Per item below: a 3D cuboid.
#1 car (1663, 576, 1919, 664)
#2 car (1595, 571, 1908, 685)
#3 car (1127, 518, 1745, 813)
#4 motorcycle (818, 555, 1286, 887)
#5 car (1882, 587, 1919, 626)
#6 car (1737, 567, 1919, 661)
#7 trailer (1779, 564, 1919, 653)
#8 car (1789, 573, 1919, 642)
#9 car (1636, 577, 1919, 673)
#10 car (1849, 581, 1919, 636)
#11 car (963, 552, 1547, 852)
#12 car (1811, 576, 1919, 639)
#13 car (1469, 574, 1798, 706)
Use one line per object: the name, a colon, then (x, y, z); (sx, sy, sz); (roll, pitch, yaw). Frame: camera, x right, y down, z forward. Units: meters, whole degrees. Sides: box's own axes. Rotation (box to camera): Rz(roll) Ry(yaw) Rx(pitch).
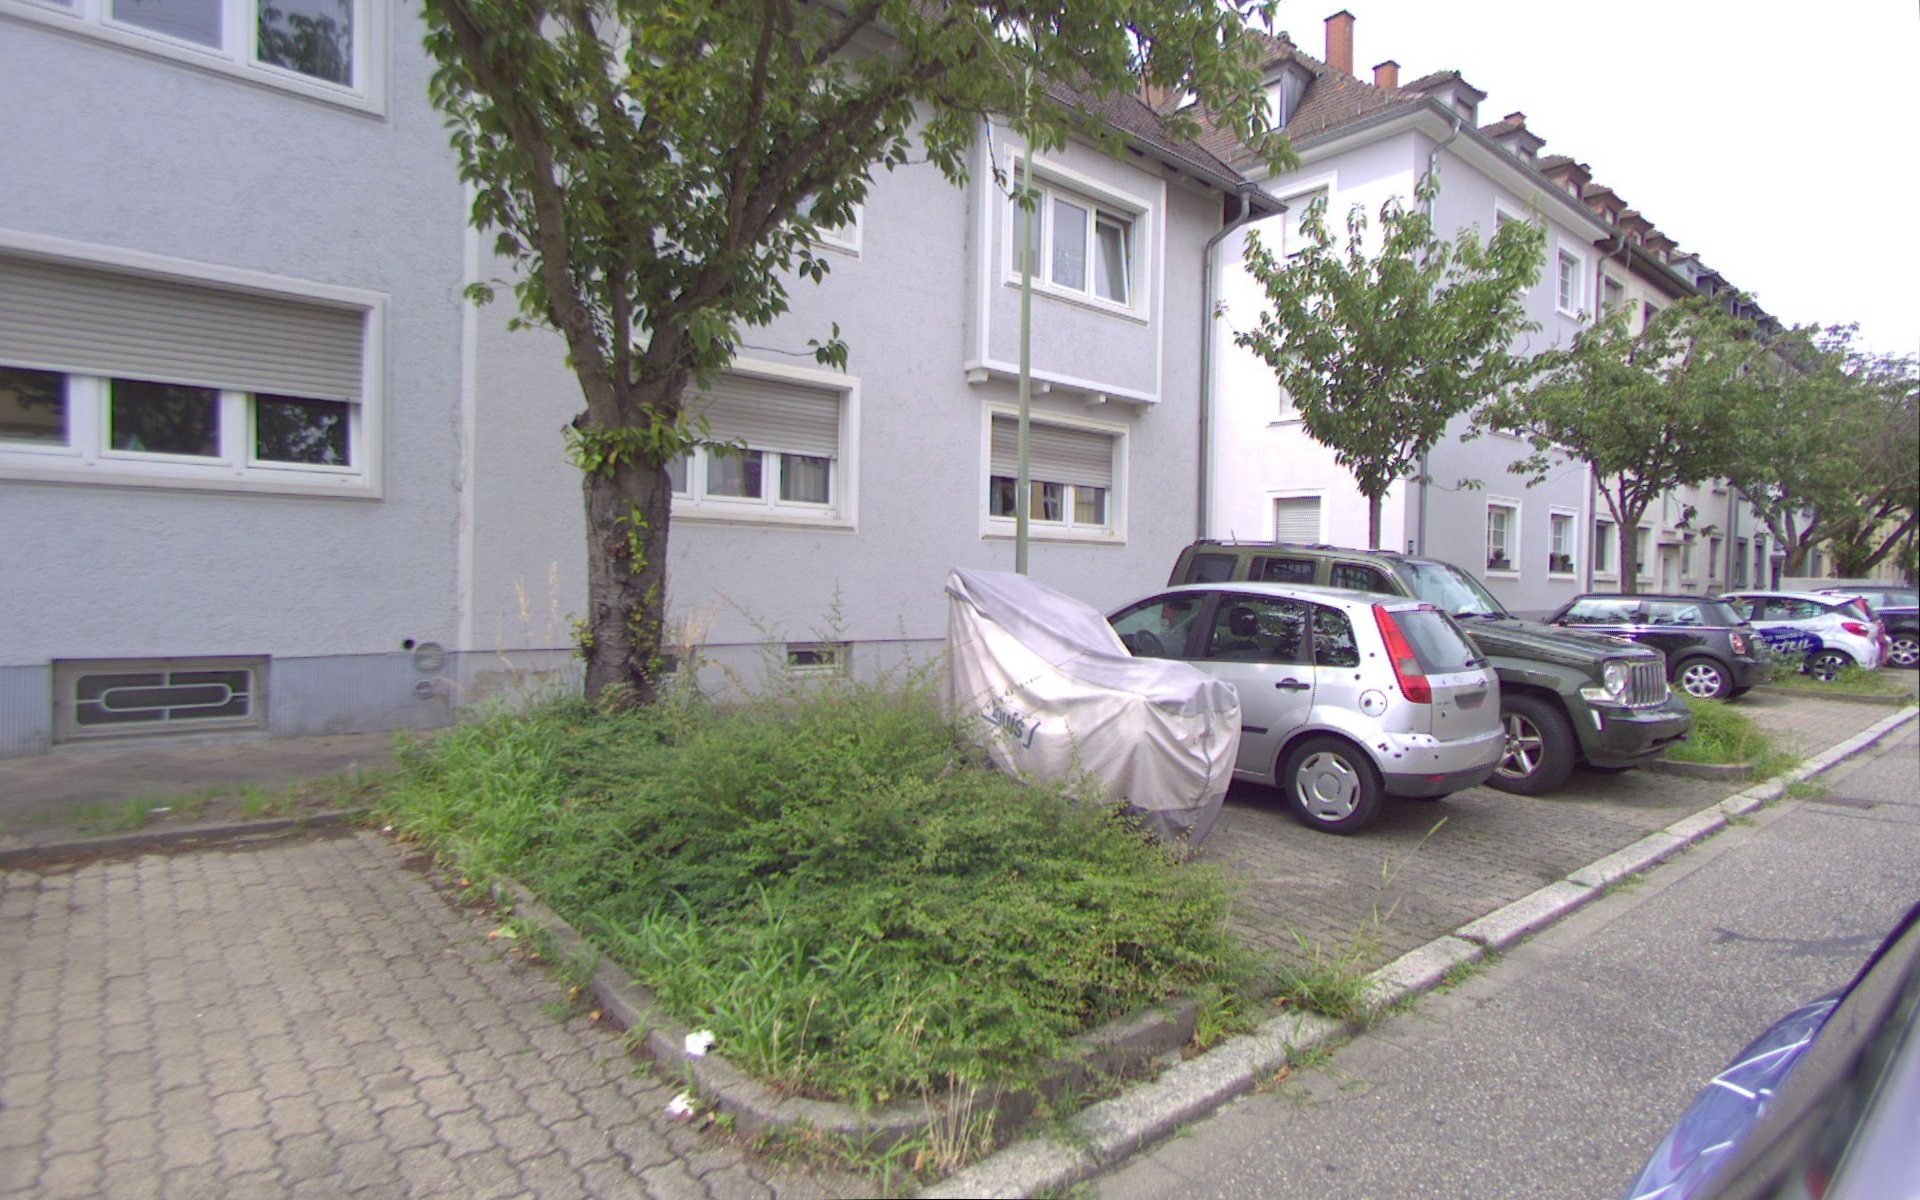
car: (17.118, 0.333, 20.979); (1.831, 1.459, 3.759); (0, 4, -39)
car: (13.604, 0.378, 17.572); (1.738, 1.548, 3.994); (0, 4, -42)
car: (3.771, 0.279, 8.877); (1.760, 1.880, 4.541); (0, 4, -37)
motorcycle: (0.385, 0.498, 5.884); (1.014, 1.482, 2.704); (0, 2, -43)
car: (37.713, 0.336, 38.239); (1.609, 1.437, 3.997); (0, 4, -40)
car: (19.528, 0.285, 21.619); (1.869, 1.756, 4.229); (0, 4, -37)
trailer: (21.159, 0.177, 23.531); (1.374, 1.853, 2.972); (0, 4, -36)
car: (24.922, 0.213, 26.856); (1.871, 1.617, 4.223); (0, 4, -42)
car: (15.499, 0.379, 19.296); (1.738, 1.427, 3.994); (0, 4, -42)
car: (32.438, 0.338, 33.454); (1.869, 1.697, 4.229); (0, 4, -37)
car: (1.919, 0.476, 7.316); (1.744, 1.472, 3.630); (0, 4, -43)
car: (26.976, 0.243, 28.583); (1.871, 1.617, 4.223); (0, 4, -42)
car: (9.593, 0.460, 14.617); (1.777, 1.470, 3.552); (0, 4, -40)
